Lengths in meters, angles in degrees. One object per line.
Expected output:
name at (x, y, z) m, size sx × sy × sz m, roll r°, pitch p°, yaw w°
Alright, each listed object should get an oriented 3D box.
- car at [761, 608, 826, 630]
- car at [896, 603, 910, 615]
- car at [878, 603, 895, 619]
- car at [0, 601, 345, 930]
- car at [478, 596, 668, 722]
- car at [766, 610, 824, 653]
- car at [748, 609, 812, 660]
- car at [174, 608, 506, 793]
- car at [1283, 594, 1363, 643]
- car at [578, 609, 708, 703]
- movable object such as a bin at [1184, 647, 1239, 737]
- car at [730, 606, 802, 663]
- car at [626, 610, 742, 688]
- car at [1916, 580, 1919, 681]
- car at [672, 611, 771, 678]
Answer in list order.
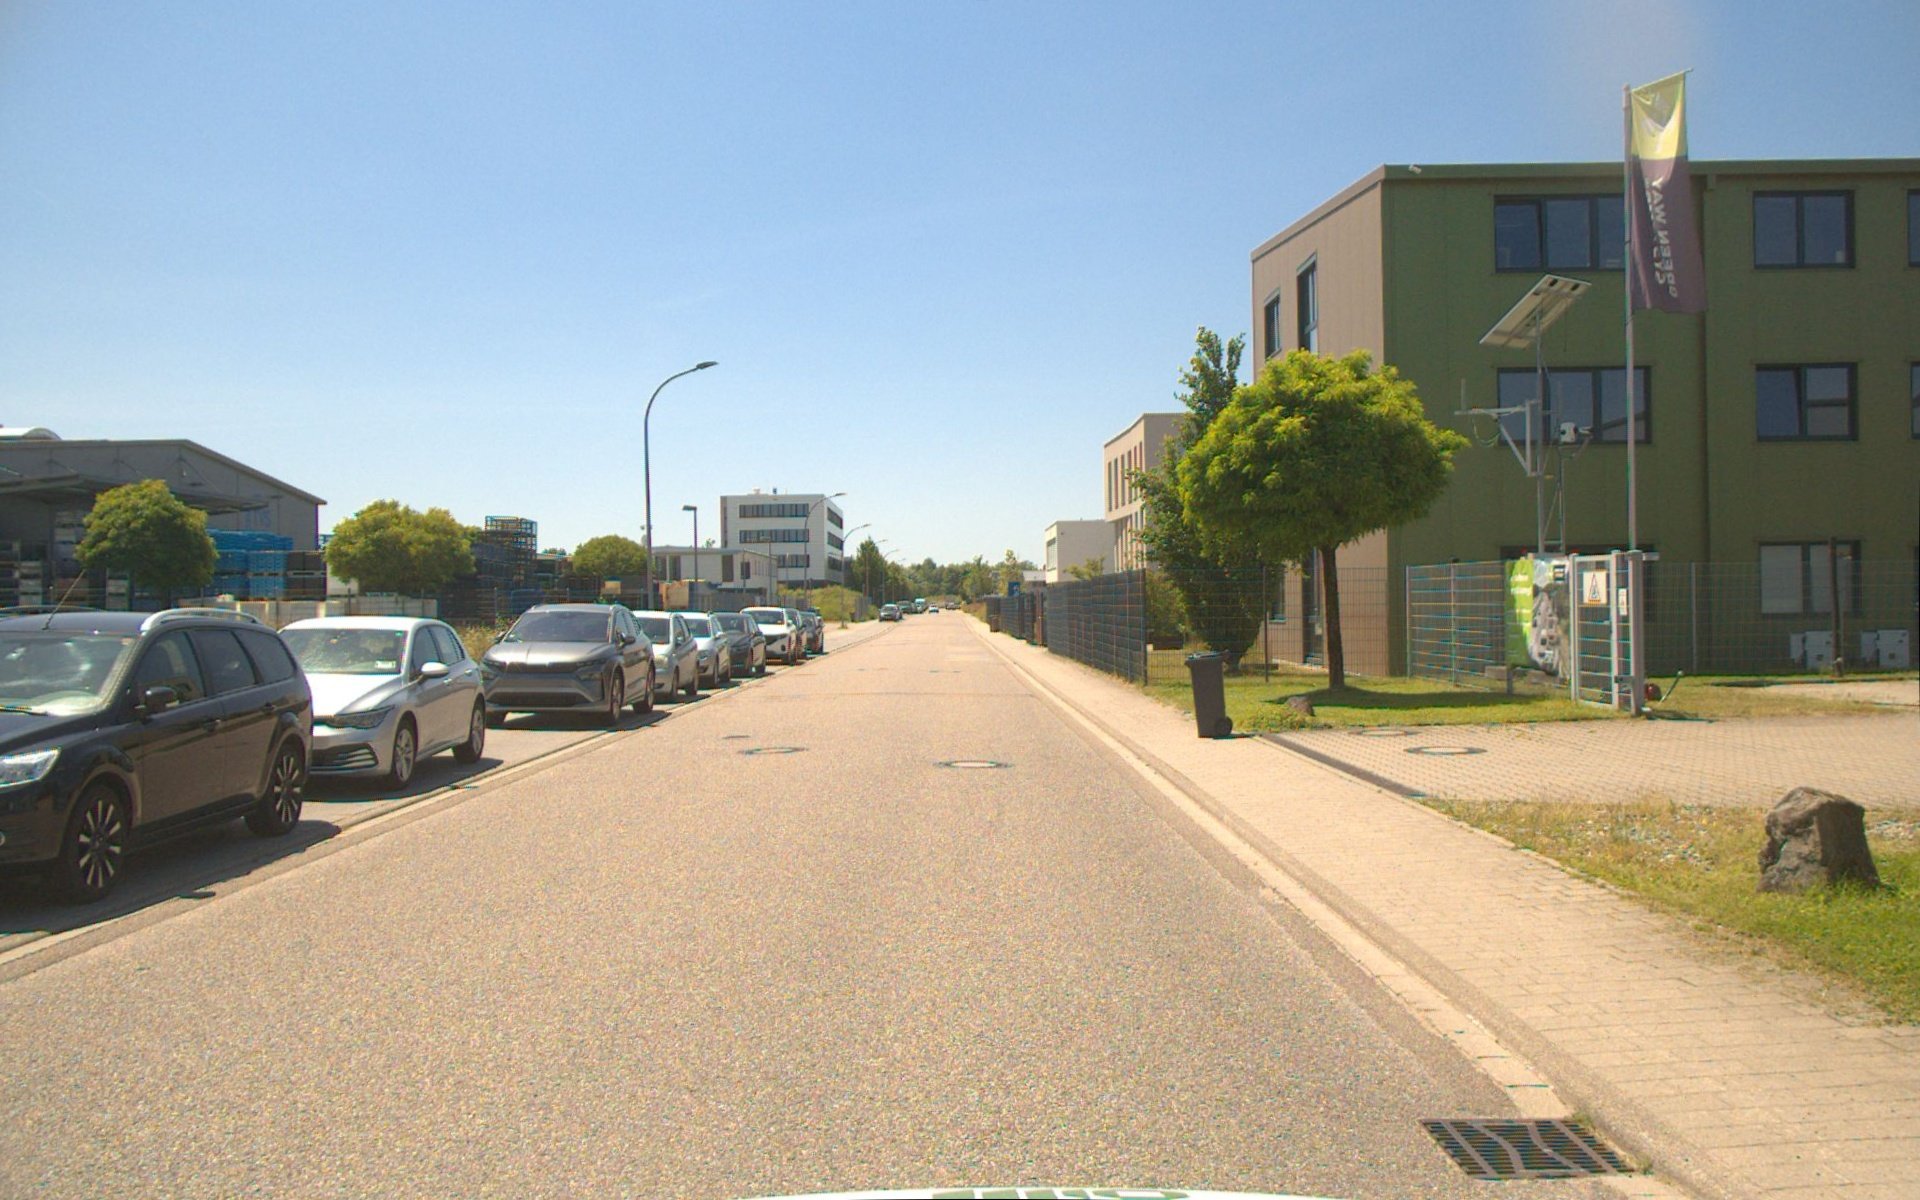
car at (-11.393, 1.305, 113.363) m, size 4.190 × 1.388 × 1.897 m, roll -2°, pitch 0°, yaw -1°
car at (-7.207, 1.134, 209.627) m, size 1.611 × 1.516 × 3.207 m, roll -1°, pitch 0°, yaw 0°
car at (-6.832, 1.005, 154.653) m, size 1.437 × 1.516 × 3.207 m, roll -1°, pitch 0°, yaw 0°
car at (-5.370, 0.783, 9.990) m, size 1.727 × 1.544 × 4.379 m, roll 0°, pitch 0°, yaw -1°
car at (-5.420, 0.771, 23.692) m, size 1.754 × 1.635 × 4.461 m, roll 0°, pitch 0°, yaw -1°
car at (-5.971, 1.123, 60.256) m, size 1.733 × 1.487 × 4.332 m, roll 0°, pitch 0°, yaw -1°
car at (-5.856, 1.102, 54.257) m, size 1.733 × 1.583 × 4.500 m, roll 0°, pitch 0°, yaw -2°
car at (-5.596, 0.827, 15.504) m, size 1.728 × 1.476 × 4.197 m, roll 0°, pitch 0°, yaw -3°
car at (11.588, 0.592, 53.069) m, size 1.621 × 1.469 × 3.999 m, roll -1°, pitch 0°, yaw -1°
car at (-5.575, 0.949, 29.443) m, size 1.659 × 1.552 × 3.734 m, roll 0°, pitch 0°, yaw -1°
movable object such as a bin at (2.817, 1.020, 18.511) m, size 0.540 × 0.944 × 0.522 m, roll -4°, pitch -1°, yaw 9°
car at (-5.676, 0.987, 48.811) m, size 1.733 × 1.620 × 4.358 m, roll 0°, pitch 0°, yaw -2°
car at (-5.742, 0.987, 34.900) m, size 1.739 × 1.506 × 4.814 m, roll 0°, pitch 0°, yaw -1°
car at (14.785, 0.438, 21.565) m, size 1.953 × 1.464 × 4.611 m, roll -1°, pitch 0°, yaw 0°
car at (-5.705, 1.034, 40.002) m, size 1.819 × 1.506 × 4.228 m, roll 0°, pitch 0°, yaw -1°
